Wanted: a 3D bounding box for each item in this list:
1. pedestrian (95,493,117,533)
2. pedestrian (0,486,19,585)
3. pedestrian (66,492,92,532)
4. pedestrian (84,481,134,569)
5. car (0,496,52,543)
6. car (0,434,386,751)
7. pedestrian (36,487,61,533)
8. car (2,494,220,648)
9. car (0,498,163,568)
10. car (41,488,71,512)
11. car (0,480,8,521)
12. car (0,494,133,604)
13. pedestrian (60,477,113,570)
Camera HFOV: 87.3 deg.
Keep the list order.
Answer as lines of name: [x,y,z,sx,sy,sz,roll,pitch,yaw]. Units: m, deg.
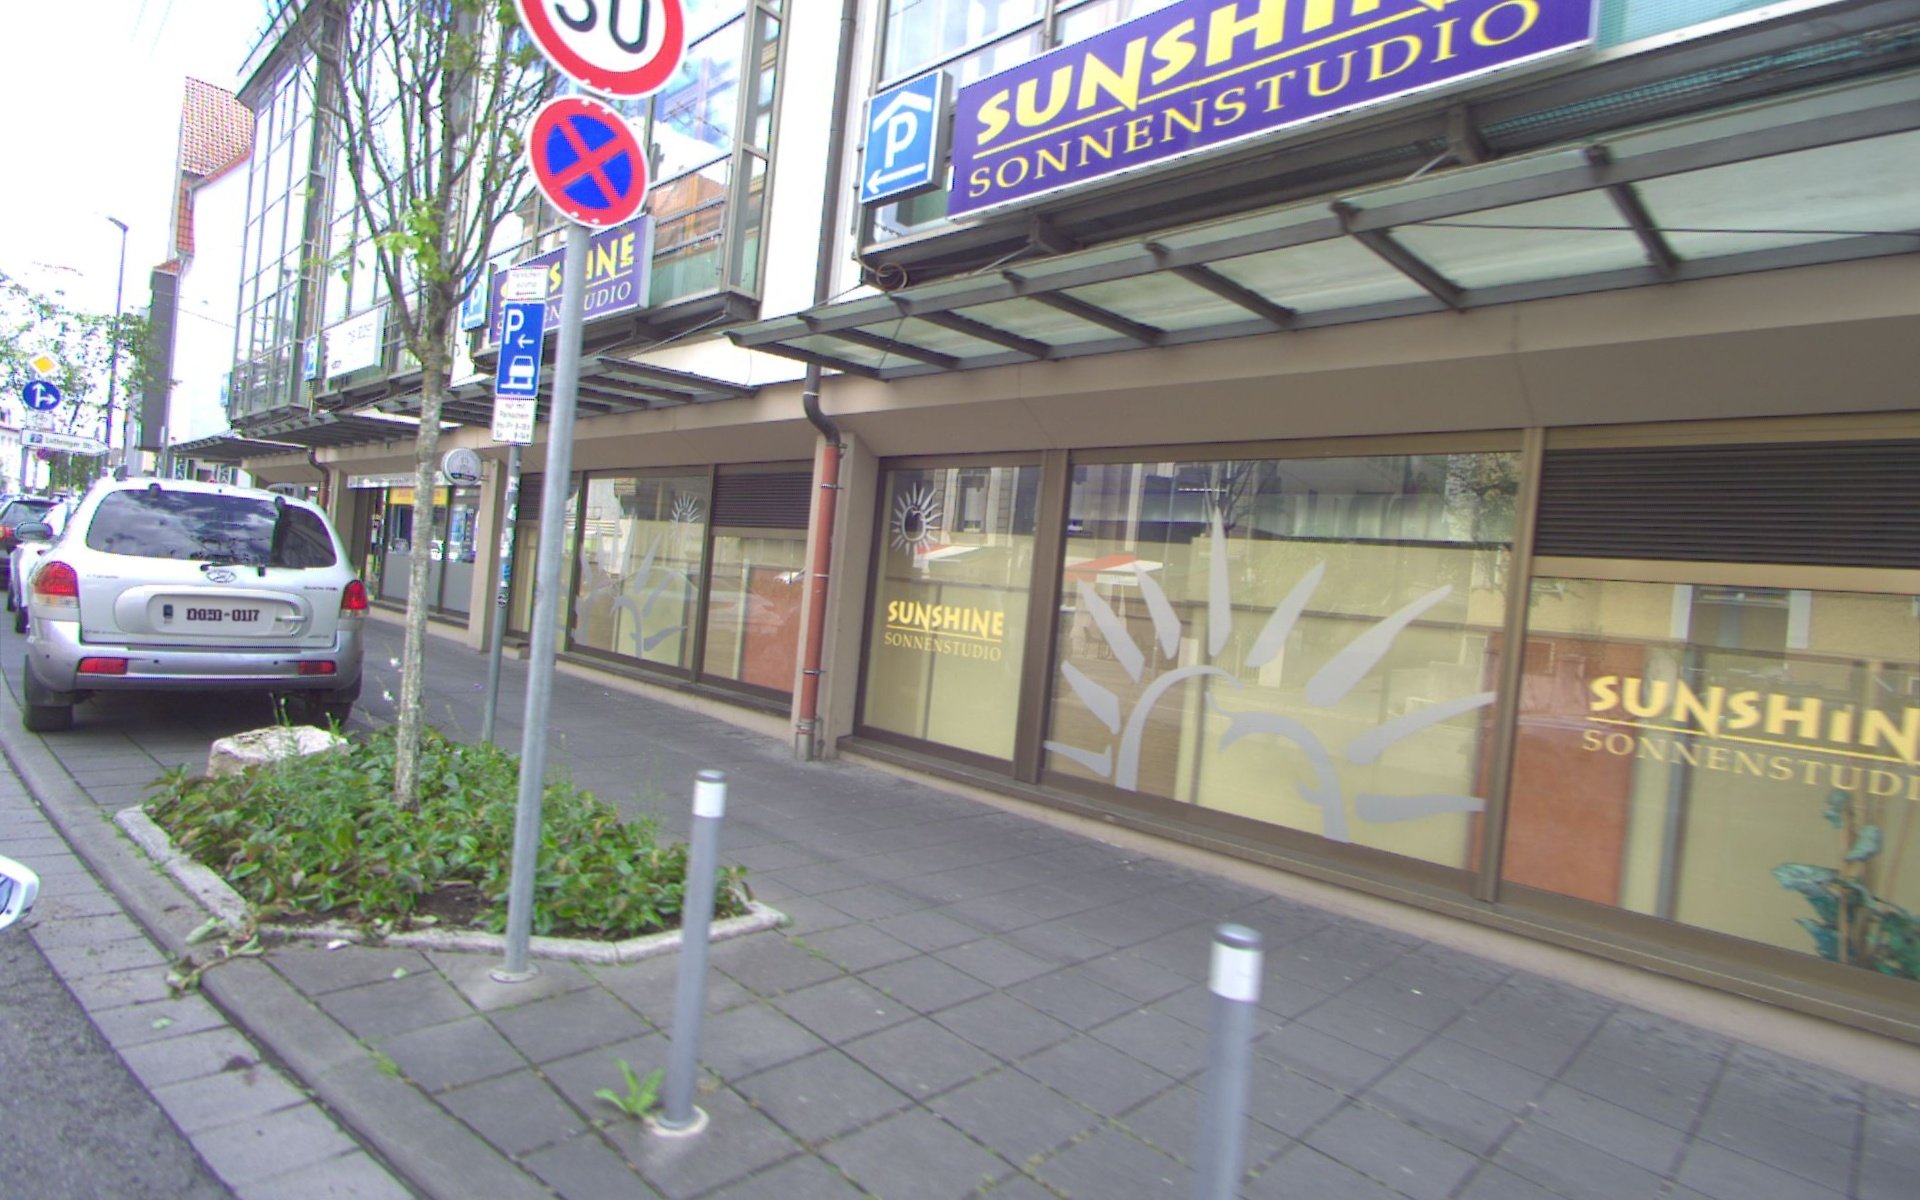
pedestrian: [-45.676,-4.662,53.786,0.590,2.038,0.681,7,0,42]
pedestrian: [-16.004,-1.095,16.327,0.655,1.613,0.677,7,-1,-8]
pedestrian: [-44.674,-4.460,50.999,0.634,1.912,0.573,6,-1,18]
pedestrian: [-20.717,-1.829,24.497,0.713,2.038,0.688,6,0,40]
car: [-34.157,-2.955,36.526,1.516,1.452,3.327,6,1,-45]
car: [-5.976,-0.113,7.721,1.816,1.753,4.183,5,1,-42]
pedestrian: [-42.396,-4.172,46.800,0.679,2.038,0.592,6,0,-41]
car: [-10.342,-0.414,12.131,1.616,1.452,4.185,6,1,-45]
car: [-25.417,-1.912,28.963,1.569,1.429,3.614,6,-2,44]
car: [-105.634,-11.688,117.563,2.055,2.328,4.182,8,-2,-37]
car: [-47.369,-4.949,48.441,1.964,1.899,4.977,6,1,-42]
car: [-14.898,-0.904,16.331,4.116,1.452,1.603,7,1,42]
pedestrian: [-20.175,-1.755,23.236,0.713,2.038,0.688,6,0,40]
